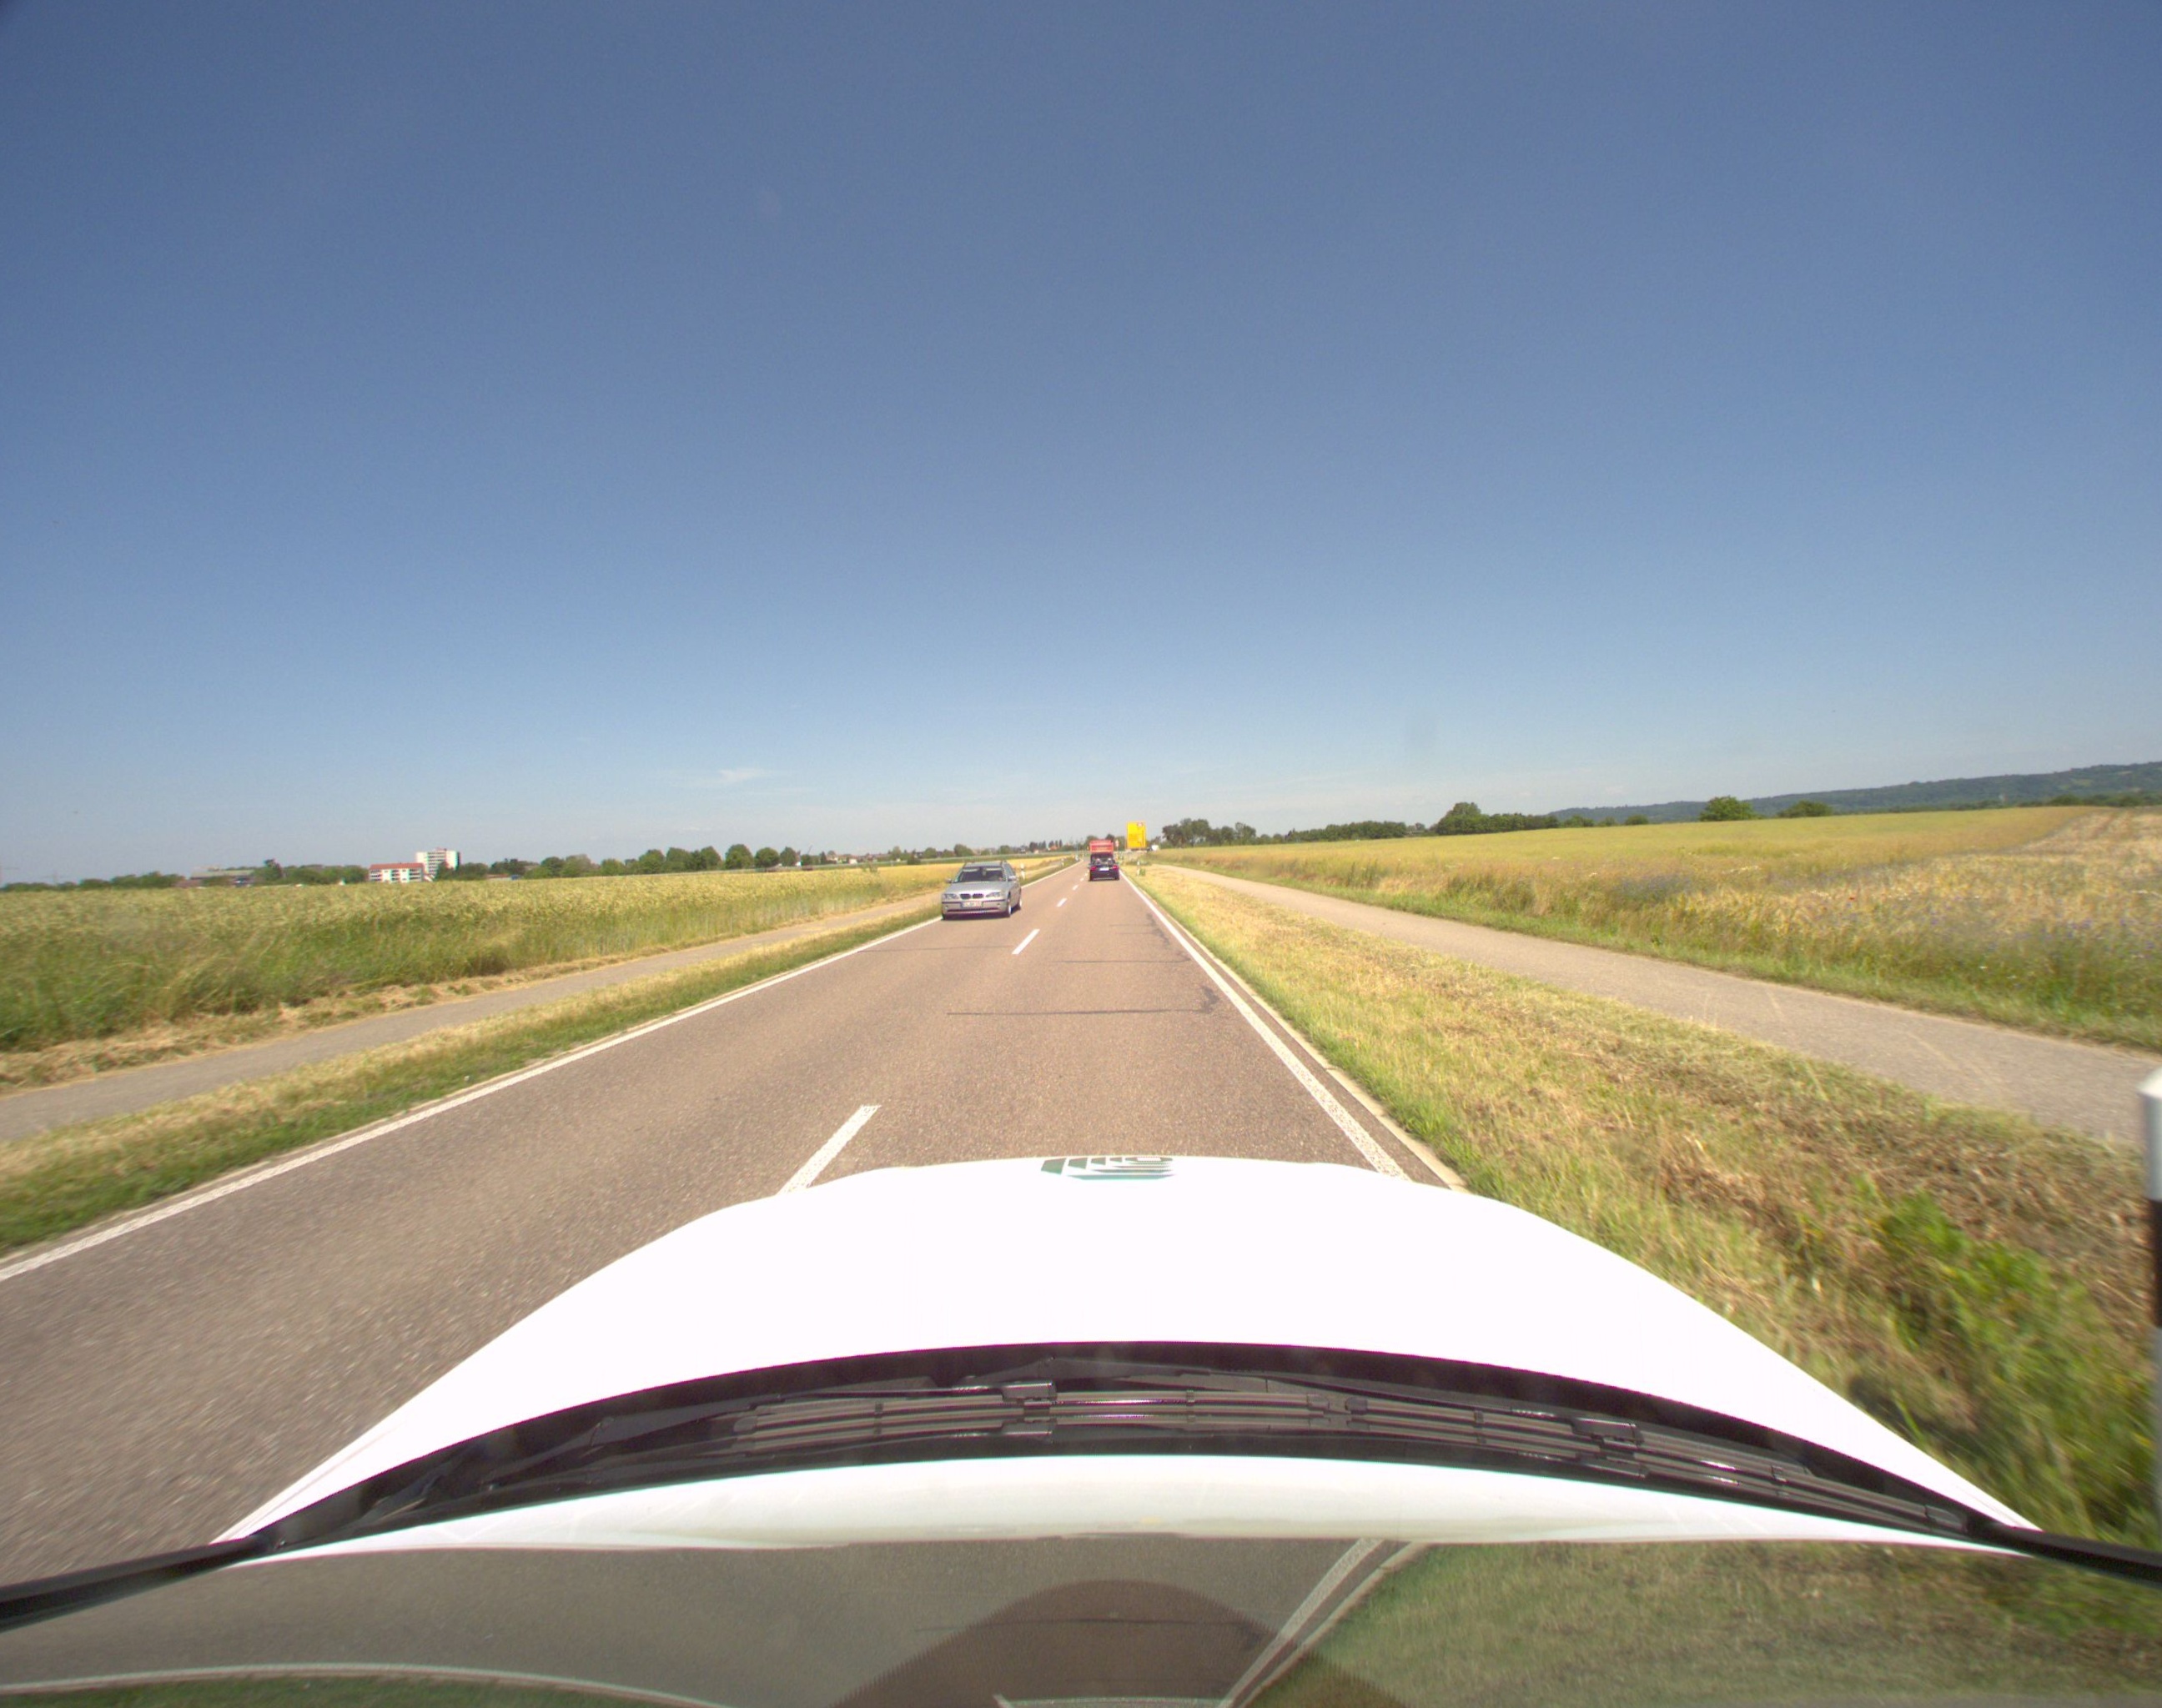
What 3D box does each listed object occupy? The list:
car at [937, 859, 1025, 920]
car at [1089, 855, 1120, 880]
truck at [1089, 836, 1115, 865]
[{"bbox_3d":[-2.610,0.895,22.136,1.741,1.400,4.033,-3,-1,1],"label":"car"},{"bbox_3d":[1.389,0.795,48.203,1.741,1.375,3.680,-1,-1,2],"label":"car"},{"bbox_3d":[2.337,-0.345,89.623,2.704,3.052,8.167,-2,-1,1],"label":"truck"}]
